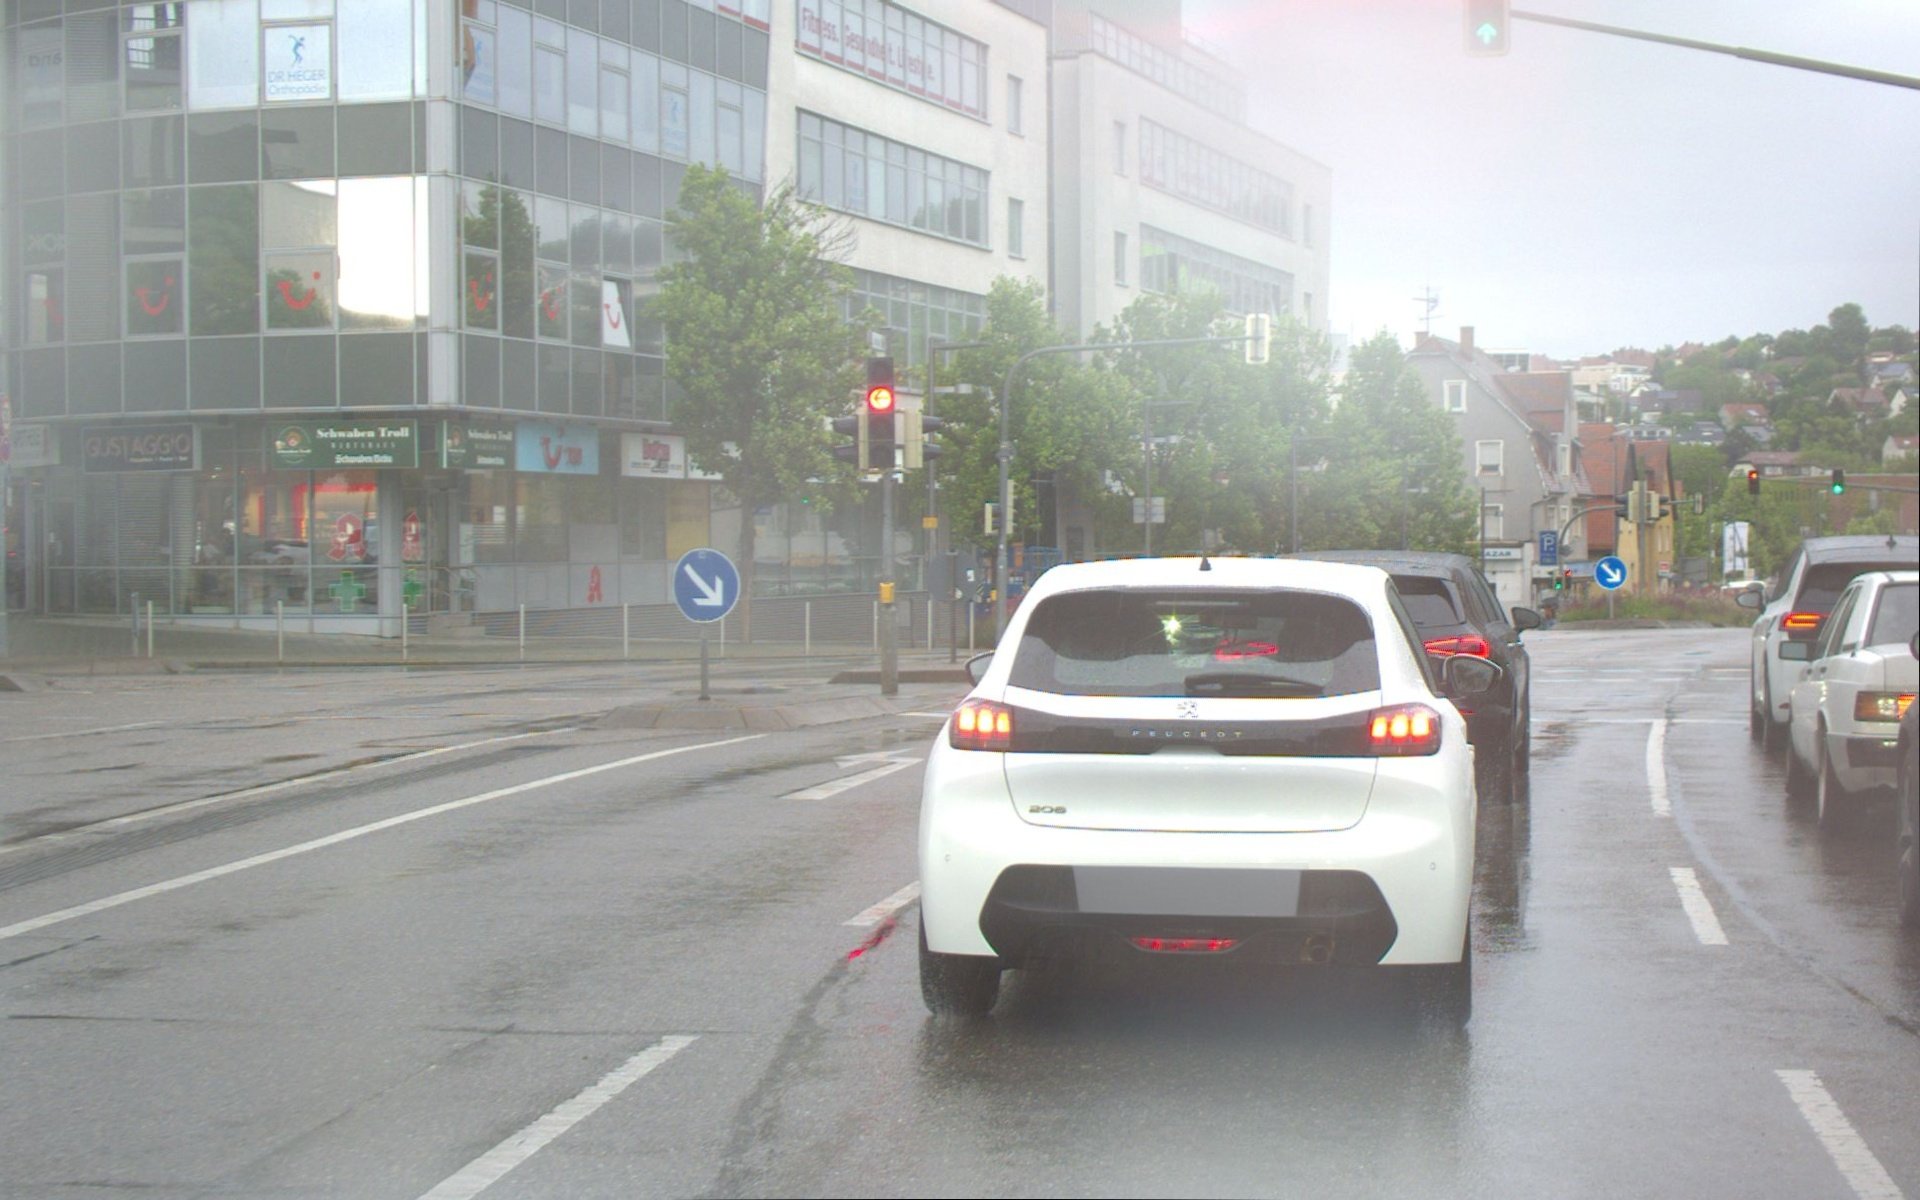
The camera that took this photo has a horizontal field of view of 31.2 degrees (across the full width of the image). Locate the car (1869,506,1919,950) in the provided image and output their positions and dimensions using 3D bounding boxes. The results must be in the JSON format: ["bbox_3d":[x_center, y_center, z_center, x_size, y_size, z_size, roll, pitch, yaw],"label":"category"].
[{"bbox_3d":[4.342,0.491,11.664,1.902,1.615,4.334,1,1,8],"label":"car"}]

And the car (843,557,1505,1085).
[{"bbox_3d":[0.864,0.600,11.760,1.872,1.457,3.872,1,1,8],"label":"car"}]

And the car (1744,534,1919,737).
[{"bbox_3d":[6.829,0.223,25.328,1.912,1.395,3.456,0,1,11],"label":"car"}]

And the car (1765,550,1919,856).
[{"bbox_3d":[5.334,0.479,18.483,1.634,1.443,4.267,2,1,9],"label":"car"}]

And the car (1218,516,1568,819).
[{"bbox_3d":[2.613,0.316,20.545,1.816,1.524,3.811,3,2,8],"label":"car"}]
